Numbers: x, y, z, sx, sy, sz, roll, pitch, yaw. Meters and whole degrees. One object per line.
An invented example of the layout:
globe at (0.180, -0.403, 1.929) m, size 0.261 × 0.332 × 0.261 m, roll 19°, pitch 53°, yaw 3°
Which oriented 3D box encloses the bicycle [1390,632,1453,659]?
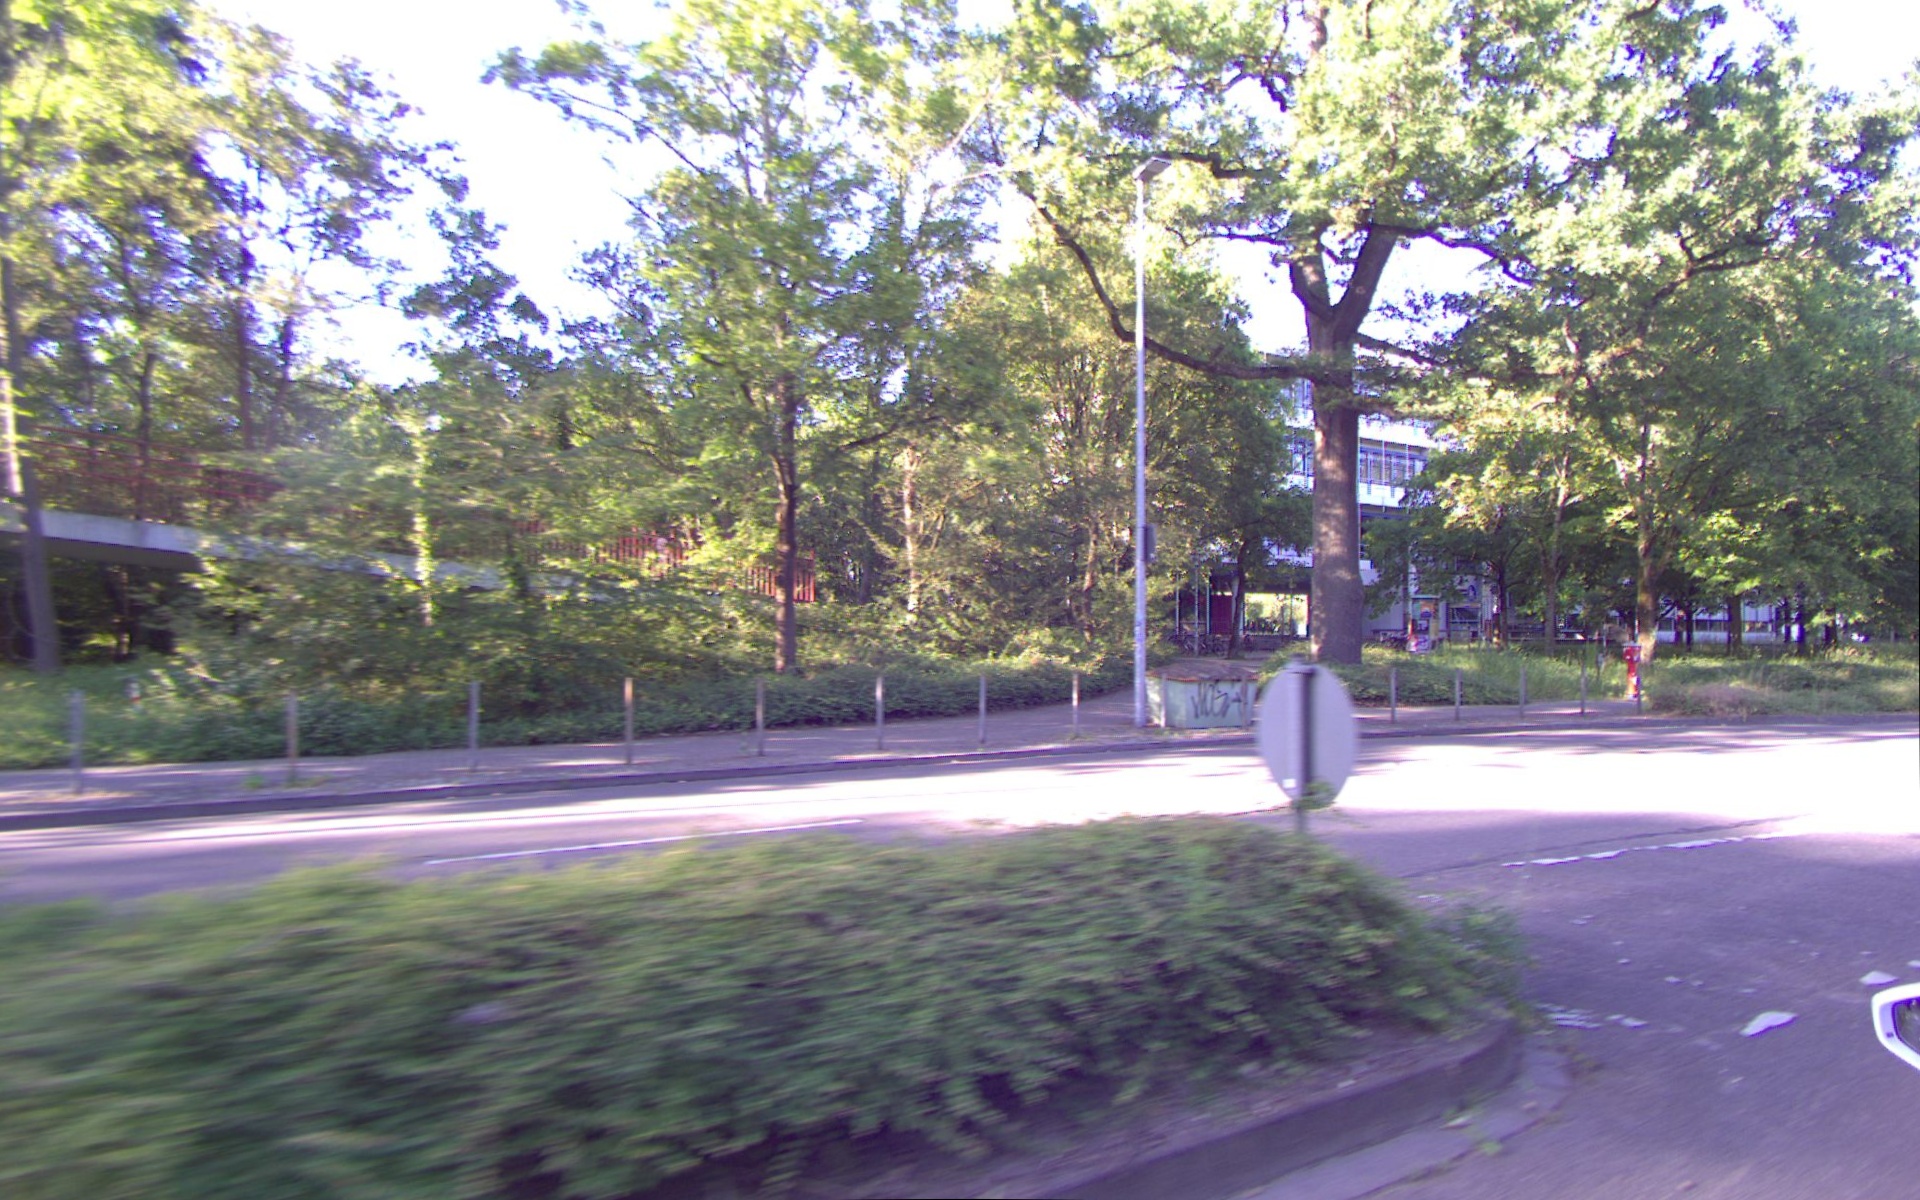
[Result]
bicycle at (19.696, 1.936, 42.878) m, size 2.380 × 1.086 × 0.537 m, roll 1°, pitch 2°, yaw 10°

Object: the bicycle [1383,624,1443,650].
bicycle at (20.039, 1.644, 44.449) m, size 2.588 × 1.086 × 0.536 m, roll 0°, pitch 3°, yaw -12°
